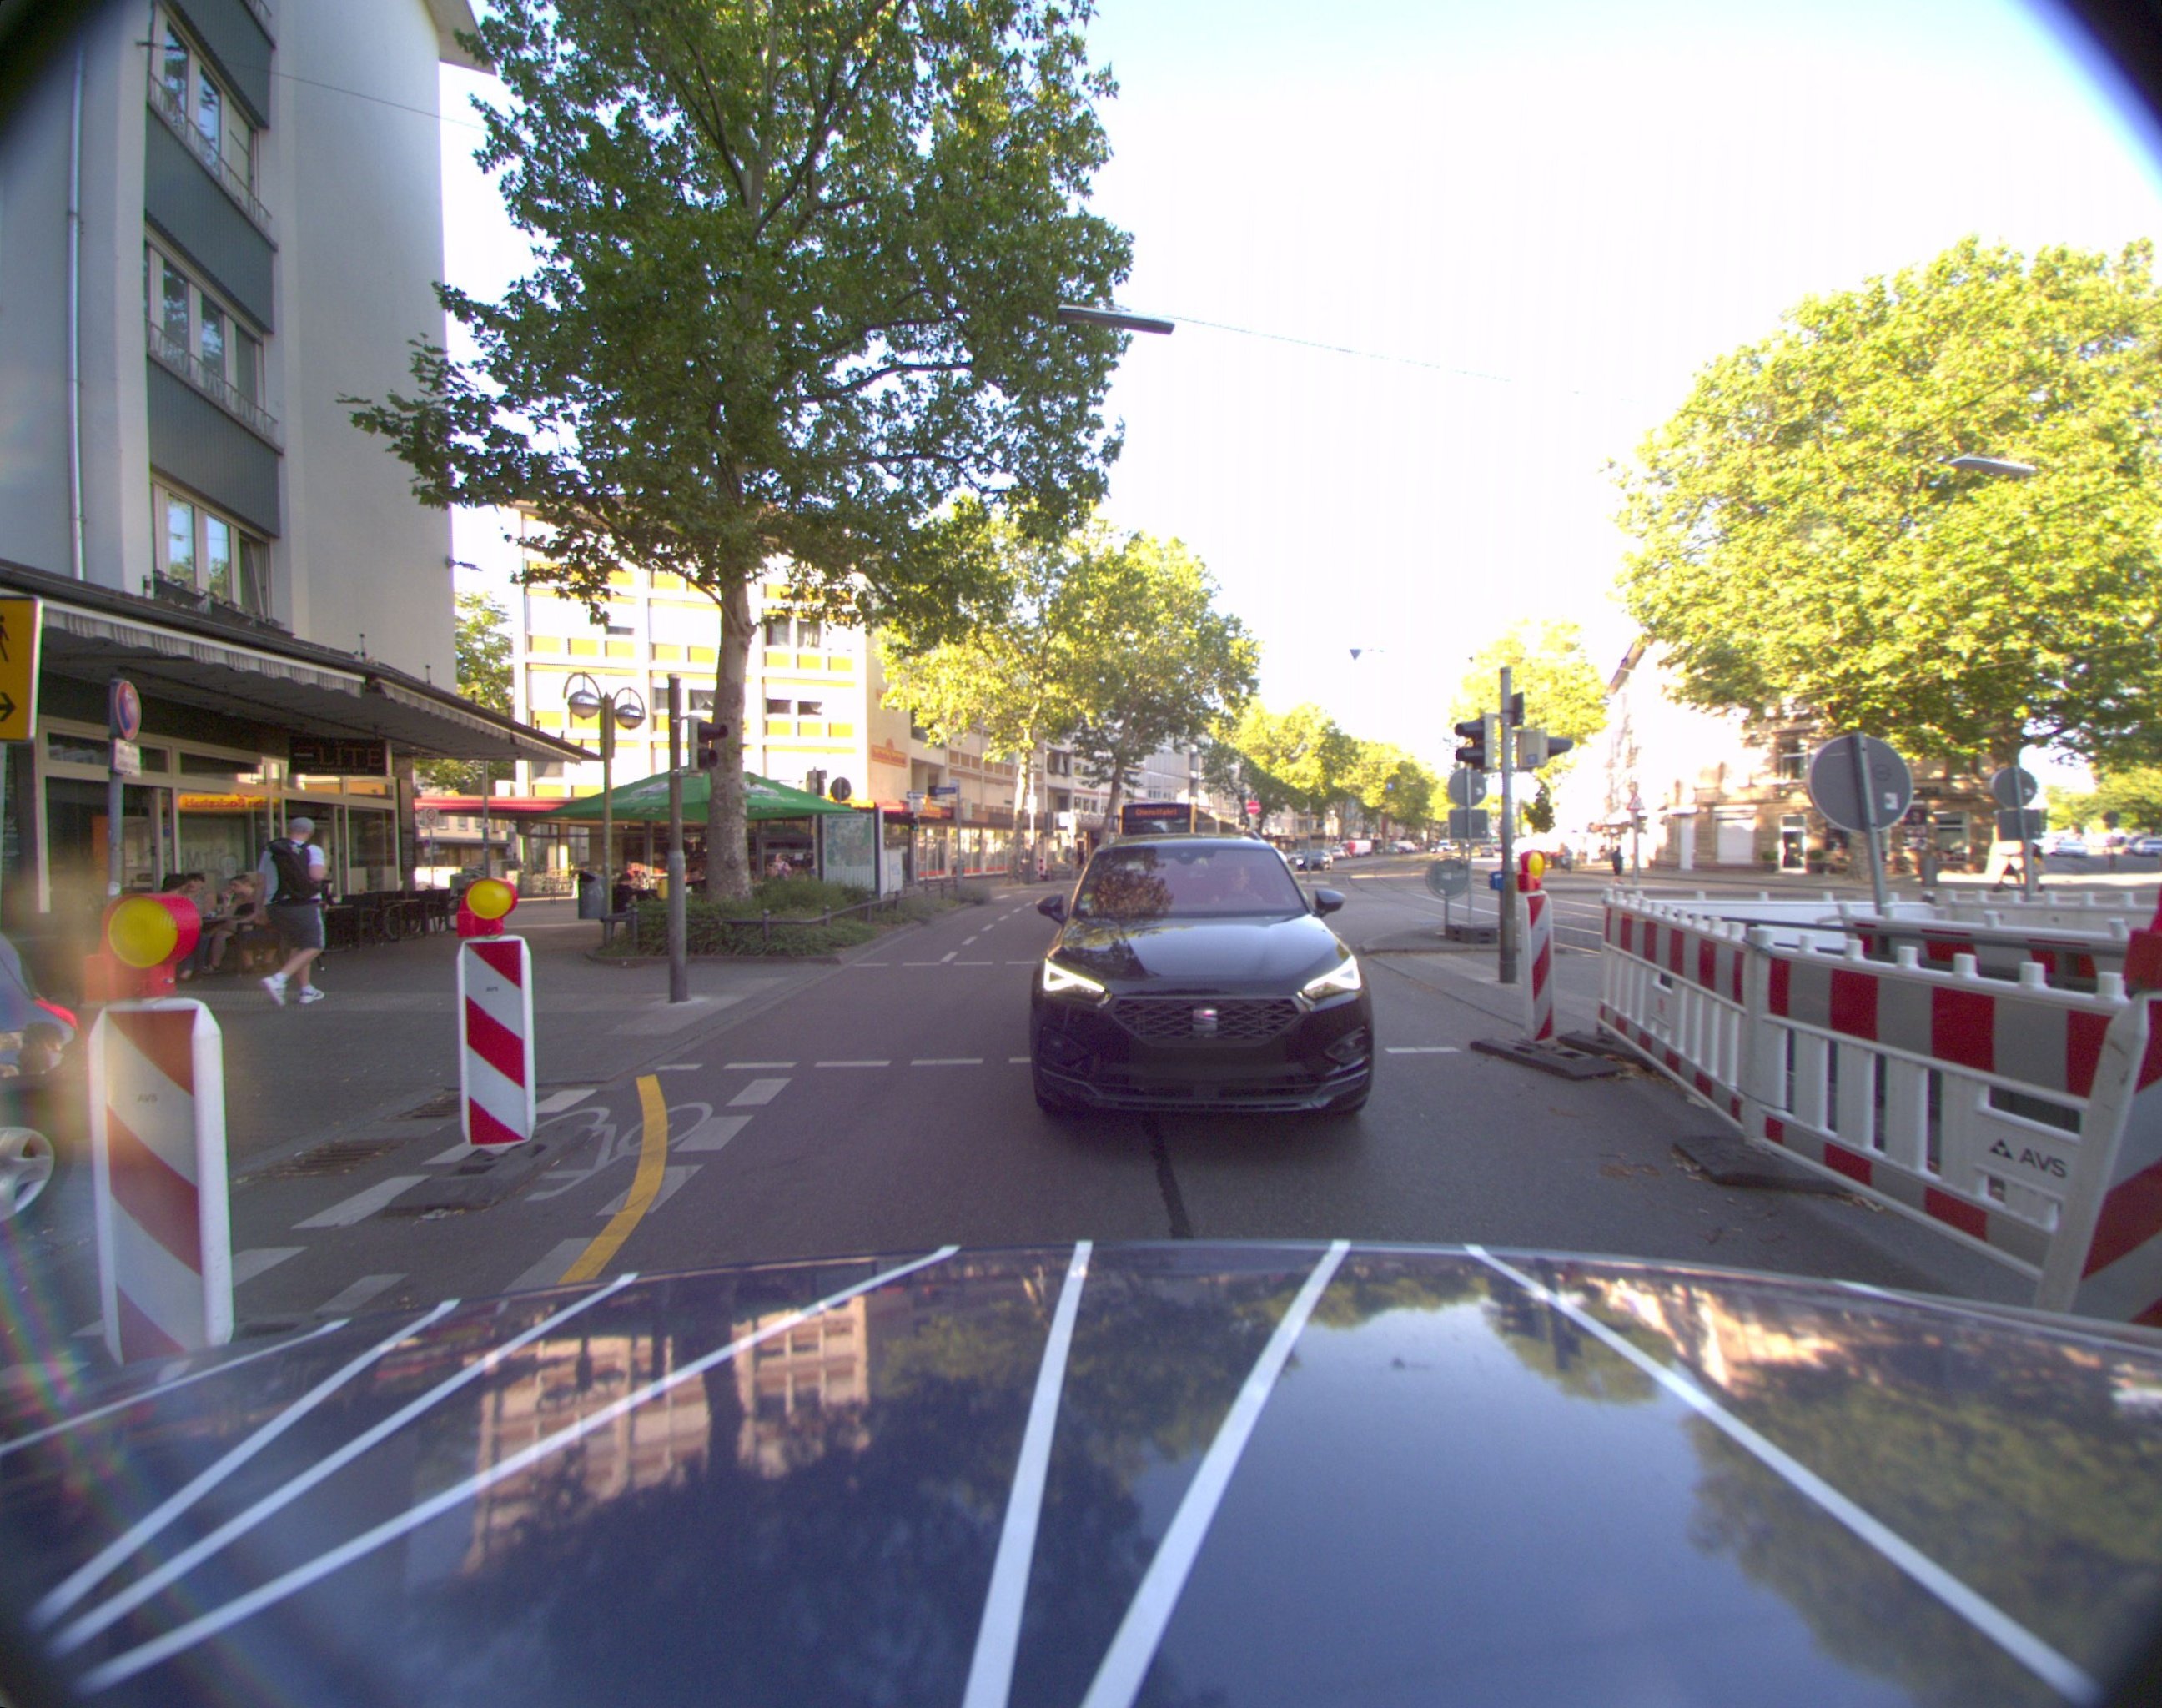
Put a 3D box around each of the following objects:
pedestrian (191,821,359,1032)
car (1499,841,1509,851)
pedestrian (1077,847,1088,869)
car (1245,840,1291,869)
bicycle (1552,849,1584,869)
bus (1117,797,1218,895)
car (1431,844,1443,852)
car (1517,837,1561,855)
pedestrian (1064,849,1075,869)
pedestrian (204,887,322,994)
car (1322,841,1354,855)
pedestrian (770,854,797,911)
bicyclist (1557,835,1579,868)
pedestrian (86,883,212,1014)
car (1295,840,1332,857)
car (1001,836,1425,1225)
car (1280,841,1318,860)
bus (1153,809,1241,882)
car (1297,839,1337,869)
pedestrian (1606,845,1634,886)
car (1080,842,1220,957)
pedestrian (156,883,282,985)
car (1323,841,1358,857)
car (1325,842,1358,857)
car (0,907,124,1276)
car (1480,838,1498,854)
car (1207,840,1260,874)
[{"bbox_3d":[-7.887,0.669,7.484,0.648,1.948,0.889,-1,1,0],"label":"pedestrian"},{"bbox_3d":[83.484,-1.556,150.073,1.686,1.841,4.007,0,1,29],"label":"car"},{"bbox_3d":[0.139,0.309,54.832,0.627,1.577,0.532,0,1,20],"label":"pedestrian"},{"bbox_3d":[13.554,0.021,54.954,1.994,2.002,4.008,0,1,33],"label":"car"},{"bbox_3d":[30.551,0.314,47.712,0.850,1.186,2.468,0,1,11],"label":"bicycle"},{"bbox_3d":[3.470,-0.290,28.263,2.718,3.088,8.629,0,1,13],"label":"bus"},{"bbox_3d":[70.221,-1.203,149.935,1.836,1.692,4.138,0,1,31],"label":"car"},{"bbox_3d":[52.344,-0.965,86.868,4.001,2.002,1.997,-1,1,-13],"label":"car"},{"bbox_3d":[-0.804,0.356,55.084,0.627,1.429,0.532,0,1,20],"label":"pedestrian"},{"bbox_3d":[-9.943,1.020,9.250,0.877,1.186,0.701,0,1,24],"label":"pedestrian"},{"bbox_3d":[36.427,-0.850,107.597,3.994,2.002,2.001,-1,1,8],"label":"car"},{"bbox_3d":[-8.688,0.825,22.202,0.629,1.628,0.531,-1,1,-15],"label":"pedestrian"},{"bbox_3d":[30.548,-0.165,47.663,0.854,2.002,0.984,0,1,10],"label":"bicyclist"},{"bbox_3d":[-10.130,0.987,8.268,0.789,1.299,0.701,0,1,28],"label":"pedestrian"},{"bbox_3d":[28.322,-0.694,92.679,3.994,2.002,2.001,-1,1,8],"label":"car"},{"bbox_3d":[0.608,0.760,5.324,1.841,1.696,4.000,-1,1,1],"label":"car"},{"bbox_3d":[24.424,-0.398,85.083,3.991,2.002,2.003,0,1,18],"label":"car"},{"bbox_3d":[5.832,-0.417,36.717,2.717,3.088,8.608,0,1,19],"label":"bus"},{"bbox_3d":[16.551,-0.018,53.217,1.995,2.002,4.007,0,1,27],"label":"car"},{"bbox_3d":[20.301,0.428,28.645,0.603,1.524,0.745,0,1,12],"label":"pedestrian"},{"bbox_3d":[1.014,0.641,12.946,1.998,1.634,4.075,-1,1,1],"label":"car"},{"bbox_3d":[-10.794,0.978,9.543,0.647,1.186,0.792,0,1,7],"label":"pedestrian"},{"bbox_3d":[33.570,-0.653,98.379,3.994,2.002,2.001,-1,1,8],"label":"car"},{"bbox_3d":[35.424,-0.570,103.337,3.994,2.002,2.001,-1,1,8],"label":"car"},{"bbox_3d":[-5.223,0.973,1.645,1.771,1.459,3.610,2,0,-2],"label":"car"},{"bbox_3d":[54.050,-1.035,100.570,1.995,2.002,4.007,0,1,29],"label":"car"},{"bbox_3d":[9.250,0.150,45.934,1.995,2.002,4.105,0,1,29],"label":"car"}]
